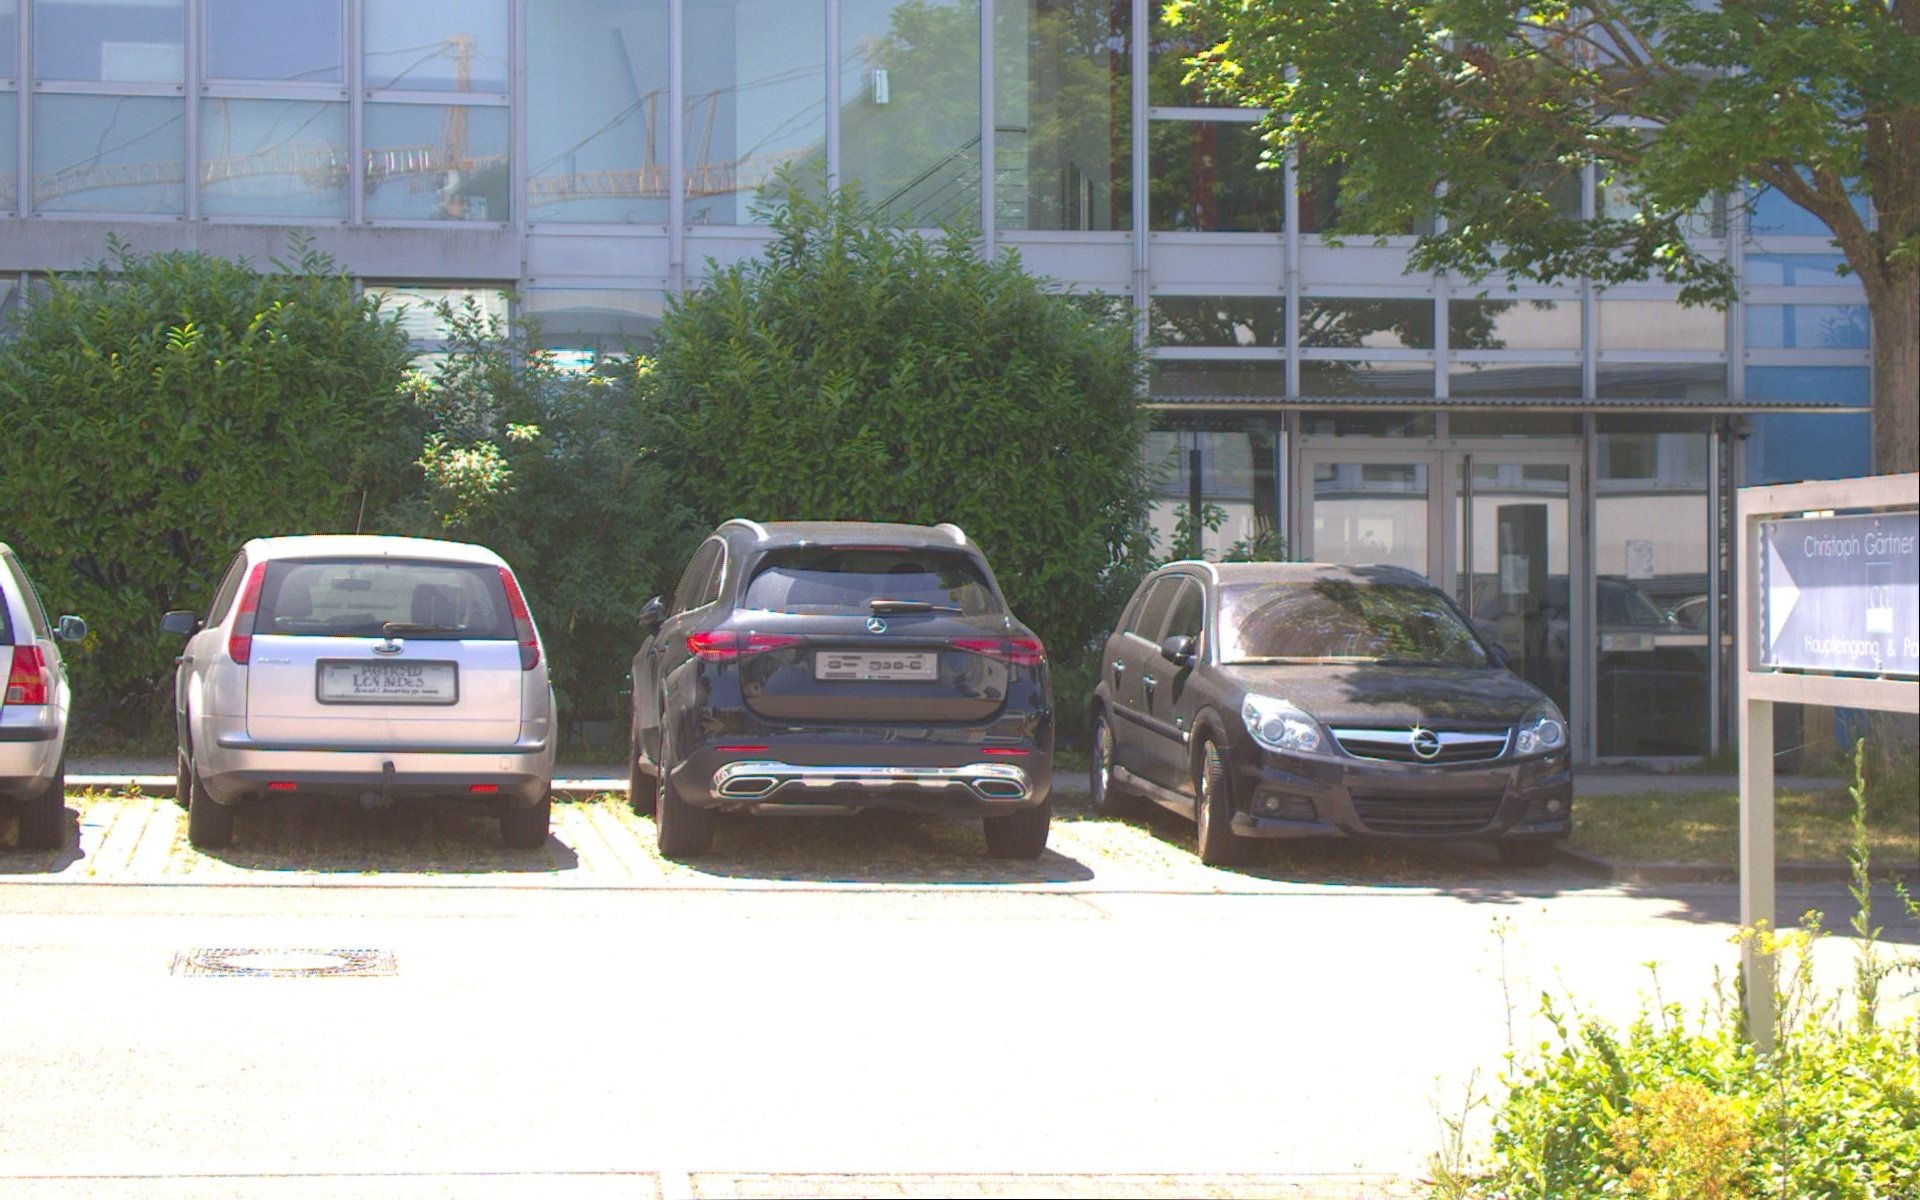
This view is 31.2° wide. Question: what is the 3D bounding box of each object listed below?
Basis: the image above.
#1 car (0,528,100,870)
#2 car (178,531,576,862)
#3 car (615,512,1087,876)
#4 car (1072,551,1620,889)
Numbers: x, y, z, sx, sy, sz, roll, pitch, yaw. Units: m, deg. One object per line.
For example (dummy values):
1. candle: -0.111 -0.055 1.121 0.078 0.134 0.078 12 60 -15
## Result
1. car: -5.109 0.386 16.629 1.731 1.444 3.655 1 1 -13
2. car: -3.066 0.418 17.526 1.764 1.444 3.655 1 1 -13
3. car: -0.685 0.387 17.661 1.926 1.605 3.988 2 1 -9
4. car: 1.847 0.523 17.865 1.769 1.477 4.260 0 2 -8
